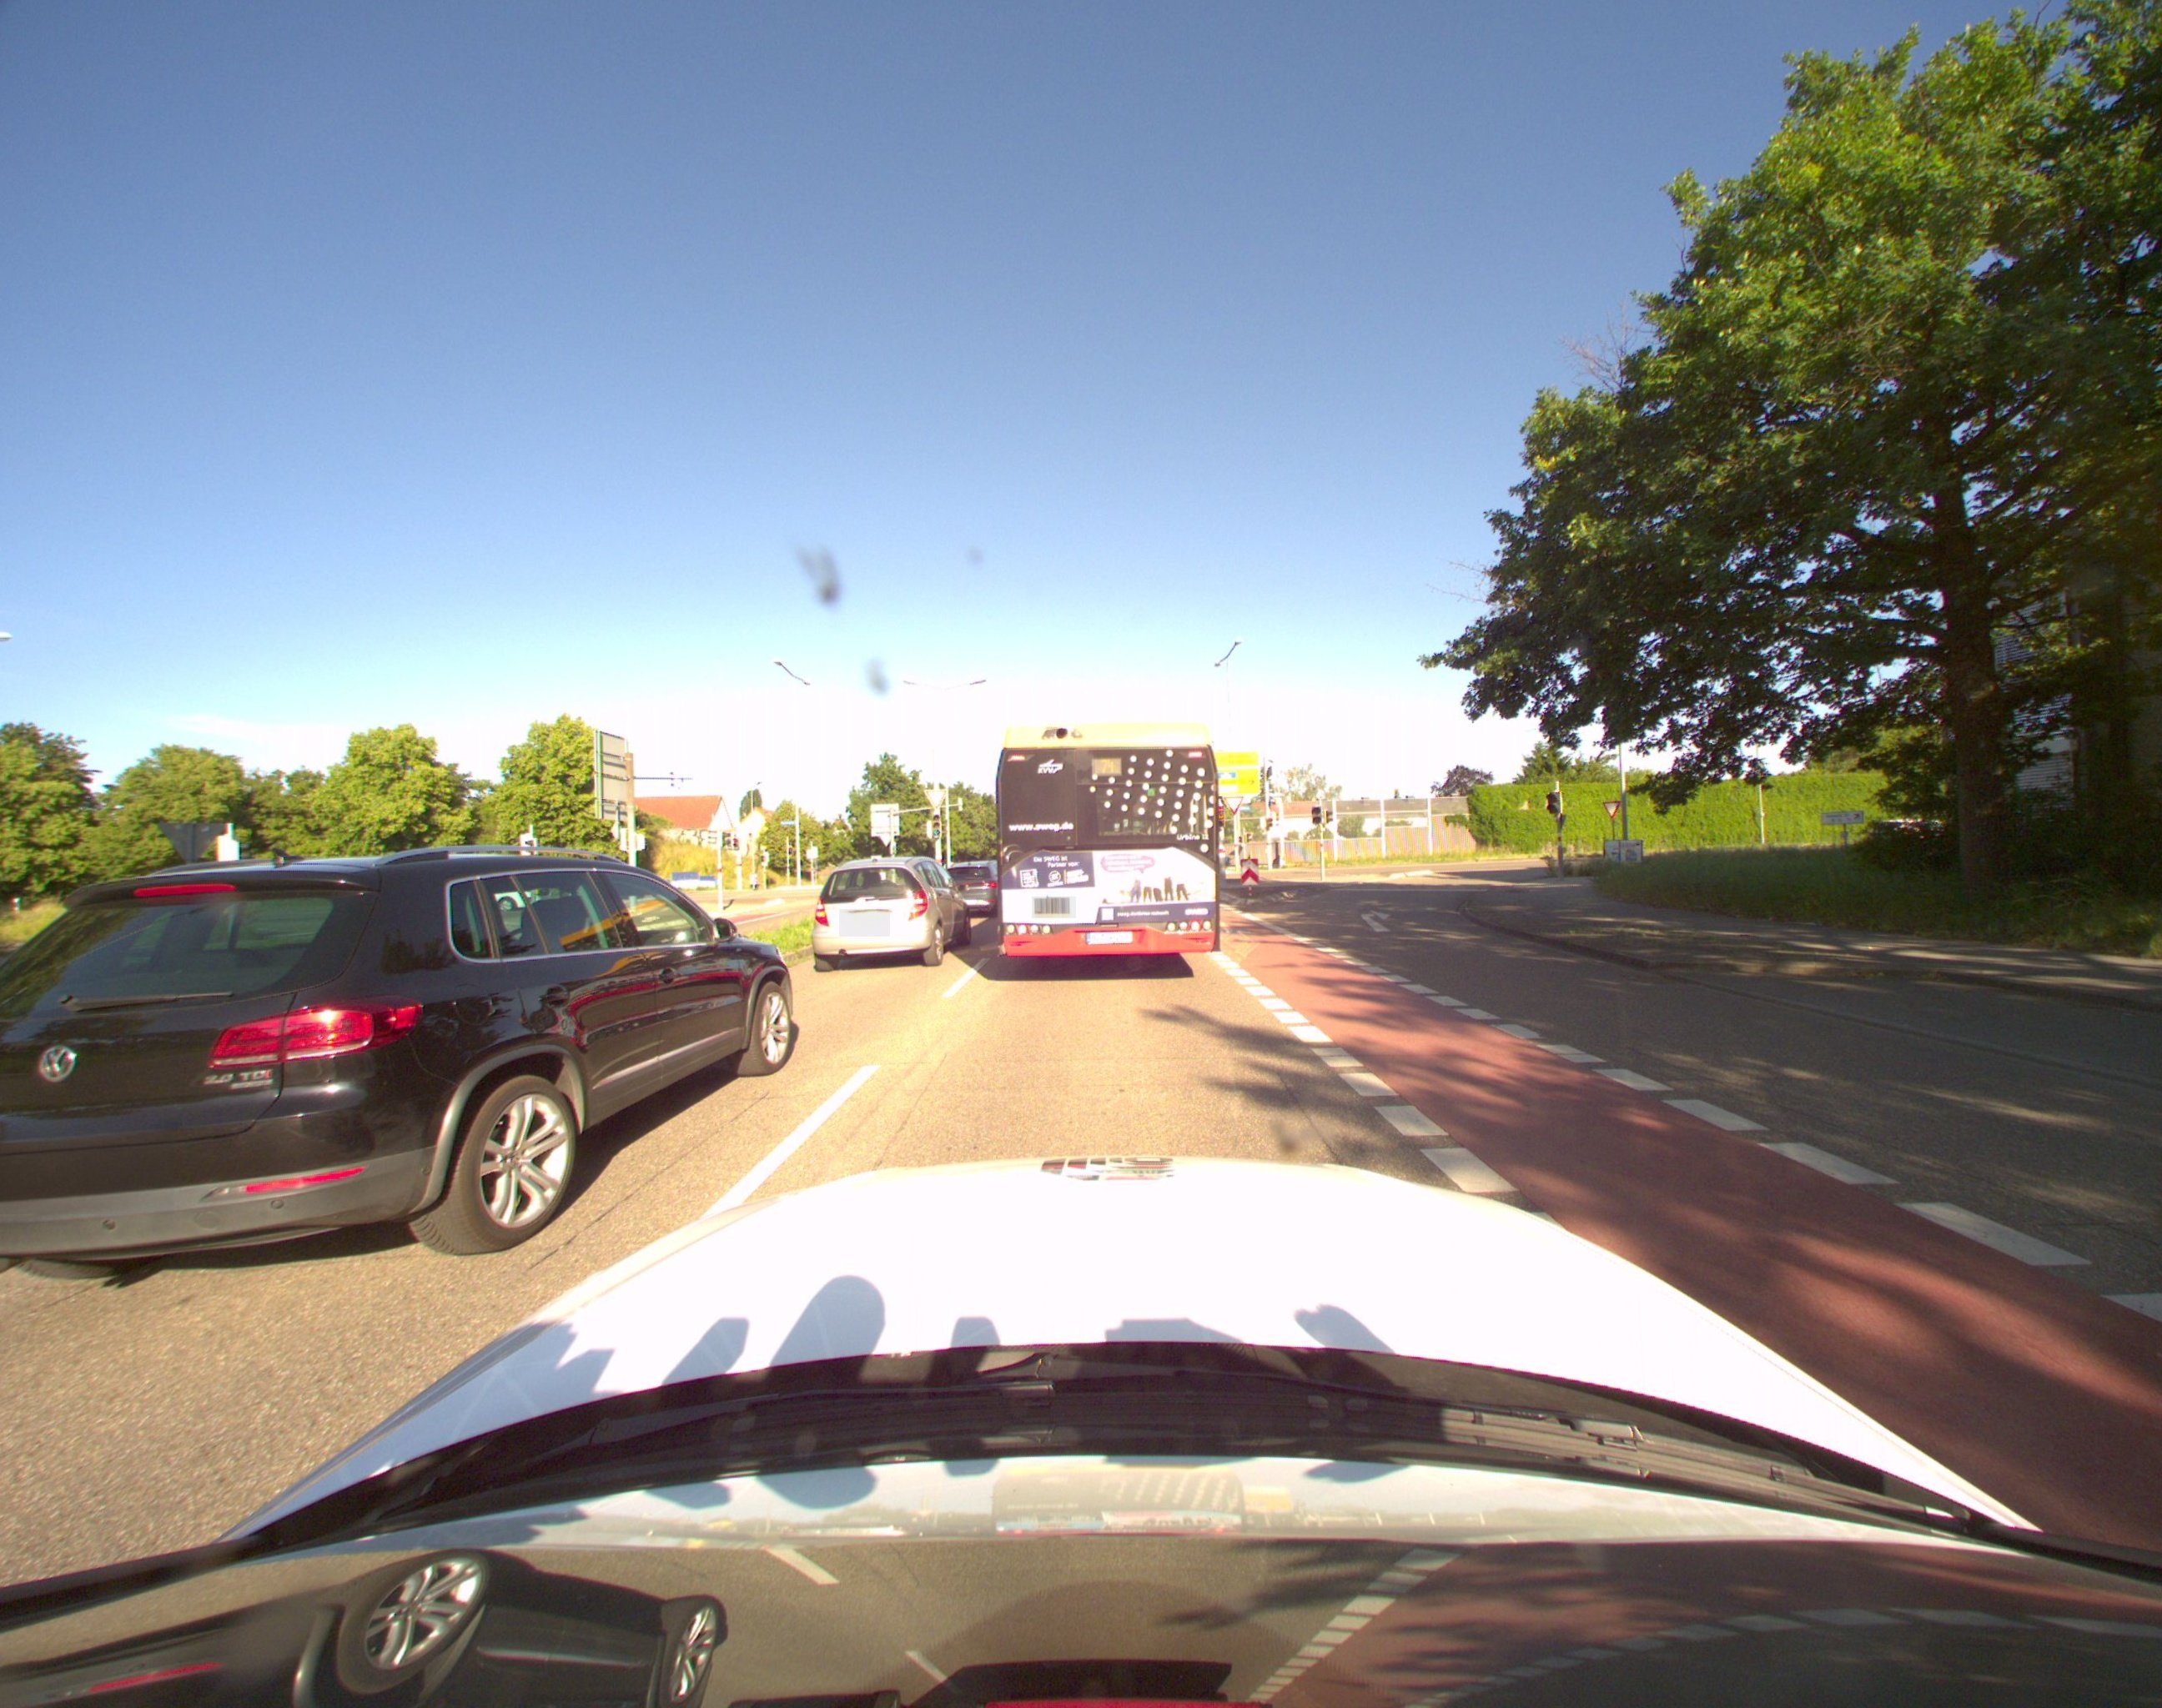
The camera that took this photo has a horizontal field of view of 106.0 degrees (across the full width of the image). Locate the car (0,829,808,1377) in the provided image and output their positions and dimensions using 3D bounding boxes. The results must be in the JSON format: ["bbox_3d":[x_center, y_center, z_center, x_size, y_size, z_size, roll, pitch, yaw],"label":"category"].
[{"bbox_3d":[-3.170,0.801,4.554,1.766,1.653,4.001,-3,0,1],"label":"car"}]

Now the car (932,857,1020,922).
[{"bbox_3d":[-2.684,0.860,21.552,1.686,1.458,3.751,-3,0,1],"label":"car"}]

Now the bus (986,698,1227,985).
[{"bbox_3d":[0.523,-0.162,15.019,2.632,3.167,11.867,-1,0,2],"label":"bus"}]

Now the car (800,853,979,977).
[{"bbox_3d":[-2.858,0.827,13.073,1.755,1.589,4.001,-3,0,1],"label":"car"}]

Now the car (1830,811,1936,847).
[{"bbox_3d":[40.431,-1.255,41.095,4.052,1.607,1.718,-3,1,-9],"label":"car"}]

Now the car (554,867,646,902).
[{"bbox_3d":[-24.574,1.540,41.670,3.577,1.560,1.747,-2,0,-5],"label":"car"}]

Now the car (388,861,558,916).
[{"bbox_3d":[-25.636,1.417,34.499,5.375,2.118,2.178,-1,-1,-4],"label":"car"}]
